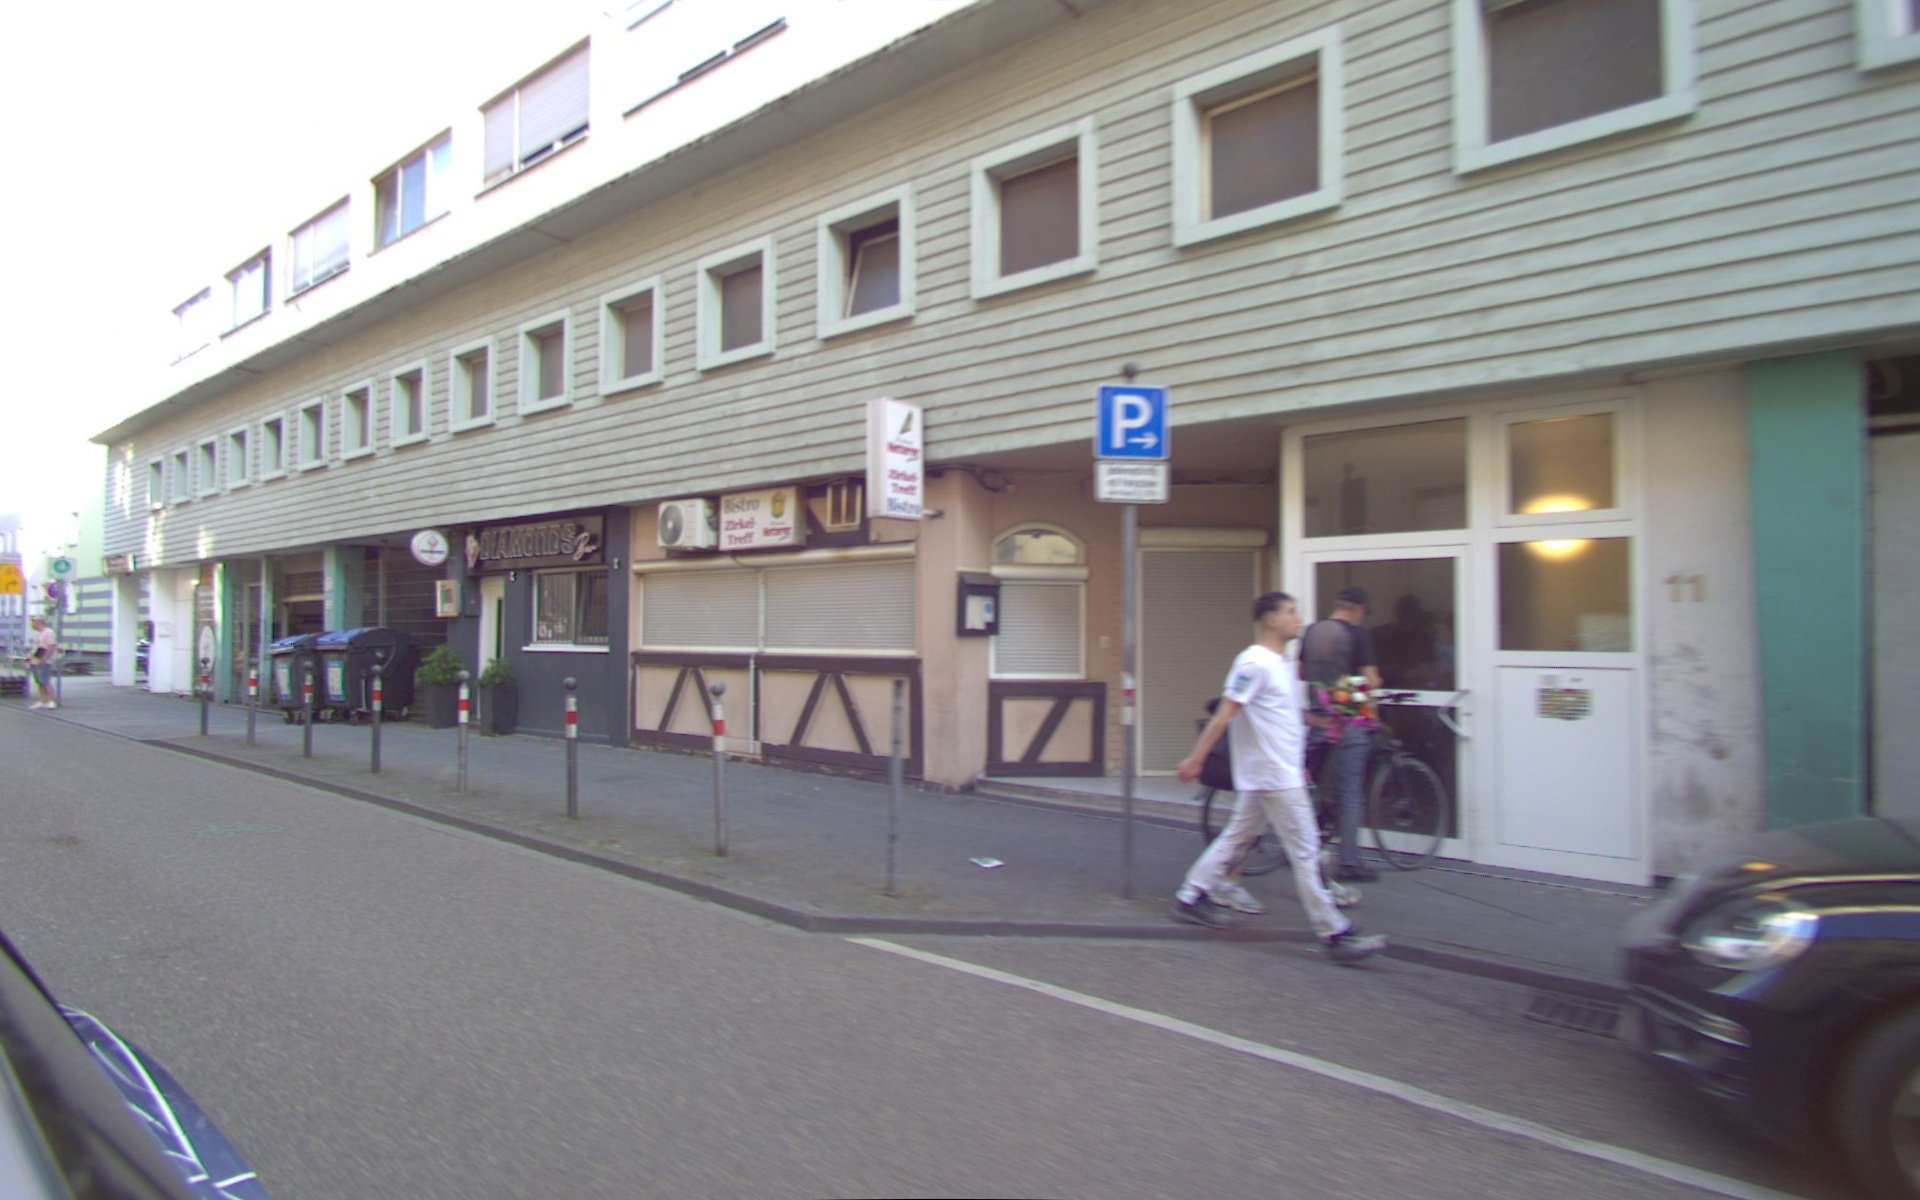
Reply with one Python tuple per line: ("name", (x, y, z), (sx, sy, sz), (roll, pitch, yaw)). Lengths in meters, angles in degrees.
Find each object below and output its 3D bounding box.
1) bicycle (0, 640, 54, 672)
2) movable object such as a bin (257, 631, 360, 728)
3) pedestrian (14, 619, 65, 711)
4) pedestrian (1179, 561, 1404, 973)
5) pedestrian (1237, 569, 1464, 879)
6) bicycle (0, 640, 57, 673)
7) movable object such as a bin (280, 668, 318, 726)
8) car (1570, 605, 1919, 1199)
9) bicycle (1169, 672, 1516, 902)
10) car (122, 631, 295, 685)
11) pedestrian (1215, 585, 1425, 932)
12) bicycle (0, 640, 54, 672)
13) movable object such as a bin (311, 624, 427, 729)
("bicycle", (-37.114, 2.217, 40.119), (0.387, 1.109, 1.721), (-2, 1, 30))
("movable object such as a bin", (-10.543, 1.261, 16.370), (1.472, 1.483, 0.959), (-3, -4, 38))
("pedestrian", (-17.197, 1.201, 18.916), (0.624, 1.682, 0.489), (-2, 0, 25))
("pedestrian", (1.588, 0.729, 4.854), (0.828, 1.748, 0.691), (-2, -4, 40))
("pedestrian", (2.425, 0.720, 6.323), (1.062, 1.742, 0.804), (1, -3, -28))
("bicycle", (-36.139, 2.178, 39.031), (0.748, 1.109, 1.799), (-2, 1, 37))
("movable object such as a bin", (-11.187, 1.631, 17.135), (0.466, 0.949, 0.389), (-2, -3, 38))
("car", (3.869, 0.799, 2.266), (4.073, 1.497, 1.800), (-2, -5, 40))
("bicycle", (2.396, 1.064, 6.295), (2.098, 1.172, 0.826), (1, -3, -28))
("car", (-22.813, 1.731, 30.860), (1.689, 1.531, 3.896), (-2, -3, 36))
("pedestrian", (1.943, 0.789, 5.485), (0.894, 1.682, 0.666), (-2, -4, 40))
("bicycle", (-37.386, 2.230, 40.429), (0.387, 1.109, 1.721), (-2, 1, 30))
("movable object such as a bin", (-9.078, 1.154, 15.556), (1.340, 1.532, 1.111), (-3, -4, 38))
